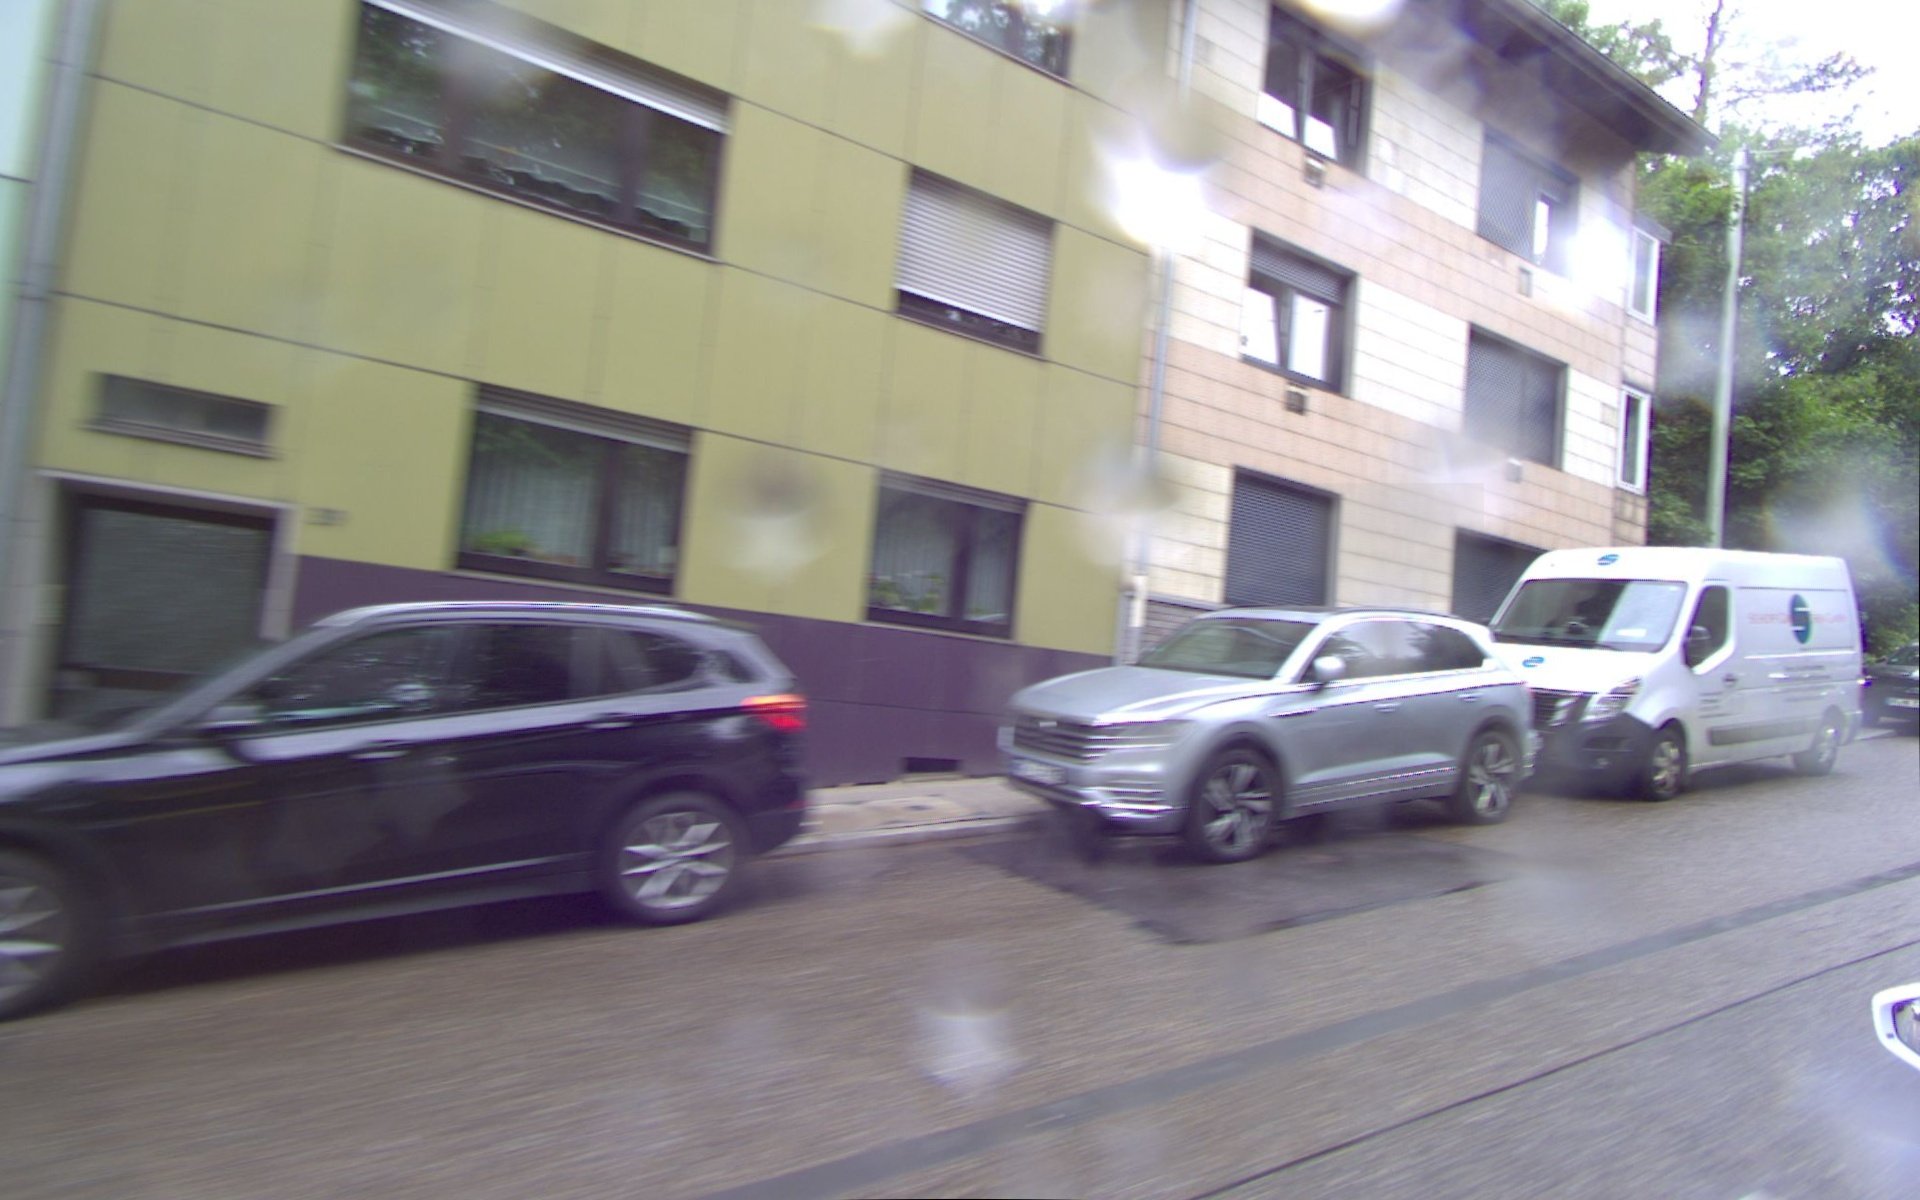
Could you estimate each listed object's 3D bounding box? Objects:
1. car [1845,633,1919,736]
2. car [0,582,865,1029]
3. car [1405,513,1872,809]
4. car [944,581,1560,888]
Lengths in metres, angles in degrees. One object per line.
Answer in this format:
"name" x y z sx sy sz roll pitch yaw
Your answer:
"car" 16.991 1.398 17.080 4.136 1.625 1.637 2 -4 -30
"car" -2.729 0.816 4.982 4.332 1.635 1.405 2 -3 -30
"car" 7.587 0.649 11.097 5.381 2.584 2.107 1 -4 -31
"car" 2.434 0.883 7.926 4.831 1.762 1.956 2 -4 -32
